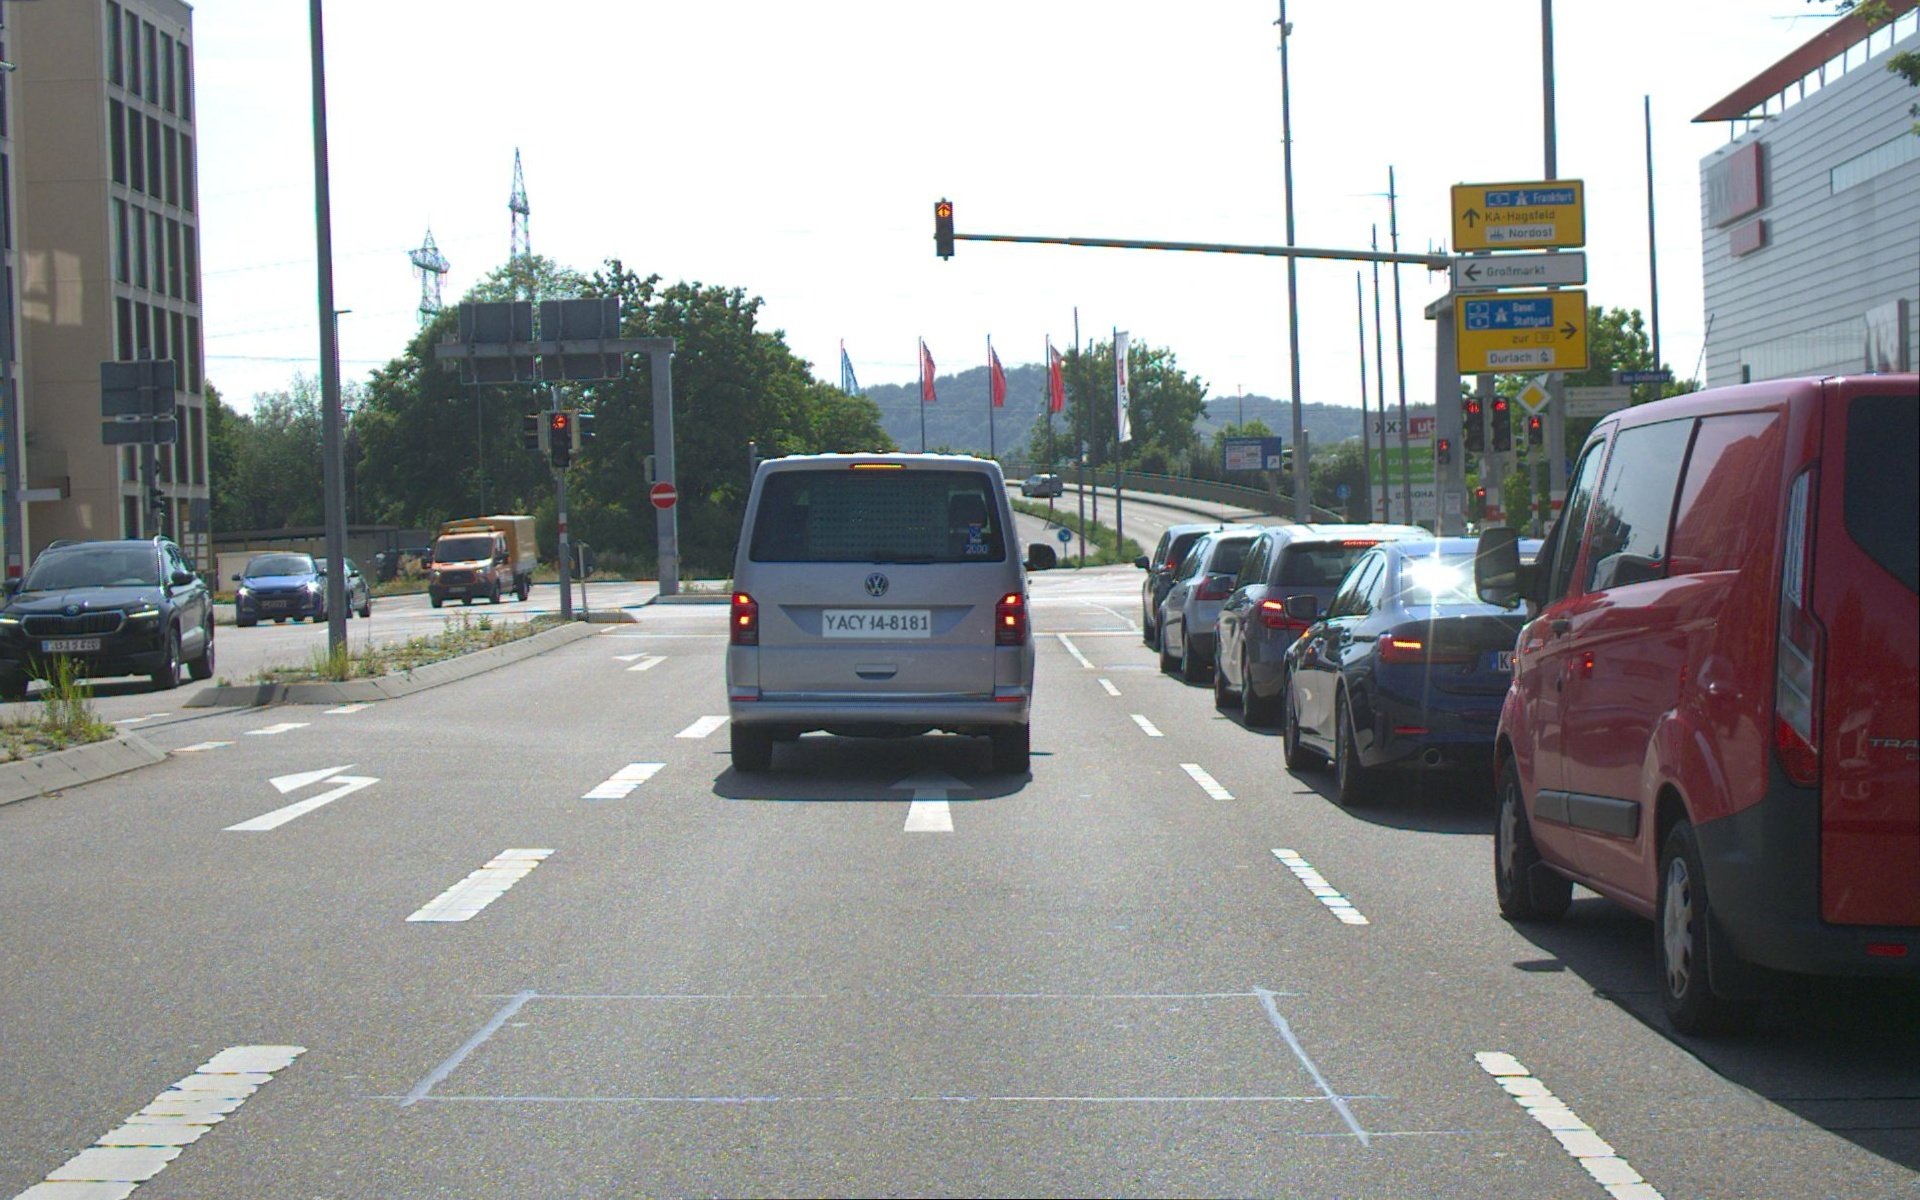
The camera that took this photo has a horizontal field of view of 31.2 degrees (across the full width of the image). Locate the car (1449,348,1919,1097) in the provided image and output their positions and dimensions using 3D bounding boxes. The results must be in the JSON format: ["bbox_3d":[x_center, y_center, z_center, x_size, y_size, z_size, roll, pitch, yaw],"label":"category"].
[{"bbox_3d":[3.009,0.261,11.572,1.967,1.961,5.126,0,1,0],"label":"car"}]

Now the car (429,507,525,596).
[{"bbox_3d":[-14.733,-1.511,105.257,2.405,2.552,6.897,-2,1,-4],"label":"car"}]

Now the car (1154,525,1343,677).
[{"bbox_3d":[2.872,-0.033,34.868,1.578,1.453,3.786,0,1,0],"label":"car"}]

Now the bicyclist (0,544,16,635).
[{"bbox_3d":[-16.276,-0.181,57.573,0.630,1.496,1.028,-1,1,0],"label":"bicyclist"}]

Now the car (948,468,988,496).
[{"bbox_3d":[0.568,-8.755,255.273,1.993,2.007,4.001,-1,1,-15],"label":"car"}]

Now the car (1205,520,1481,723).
[{"bbox_3d":[3.013,0.116,27.766,1.746,1.511,4.078,0,1,0],"label":"car"}]

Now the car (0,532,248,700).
[{"bbox_3d":[-9.096,0.124,37.732,1.738,1.613,4.210,-4,1,-2],"label":"car"}]

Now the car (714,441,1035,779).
[{"bbox_3d":[-0.508,0.013,22.255,1.884,1.983,4.000,0,1,0],"label":"car"}]

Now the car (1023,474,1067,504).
[{"bbox_3d":[5.925,-7.724,239.771,1.993,2.007,4.001,-1,1,-15],"label":"car"}]

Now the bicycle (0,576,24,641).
[{"bbox_3d":[-16.227,0.143,57.578,0.585,1.048,1.876,-1,1,0],"label":"bicycle"}]

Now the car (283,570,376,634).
[{"bbox_3d":[-15.212,0.035,83.113,1.576,1.404,4.380,-2,1,-2],"label":"car"}]

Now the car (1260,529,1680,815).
[{"bbox_3d":[2.818,0.324,19.915,1.746,1.453,4.476,0,1,0],"label":"car"}]

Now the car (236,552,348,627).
[{"bbox_3d":[-13.808,-0.230,71.192,1.681,1.353,3.841,-2,2,-2],"label":"car"}]

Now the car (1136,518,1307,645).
[{"bbox_3d":[3.263,-0.268,43.507,1.836,1.521,4.000,0,1,0],"label":"car"}]
